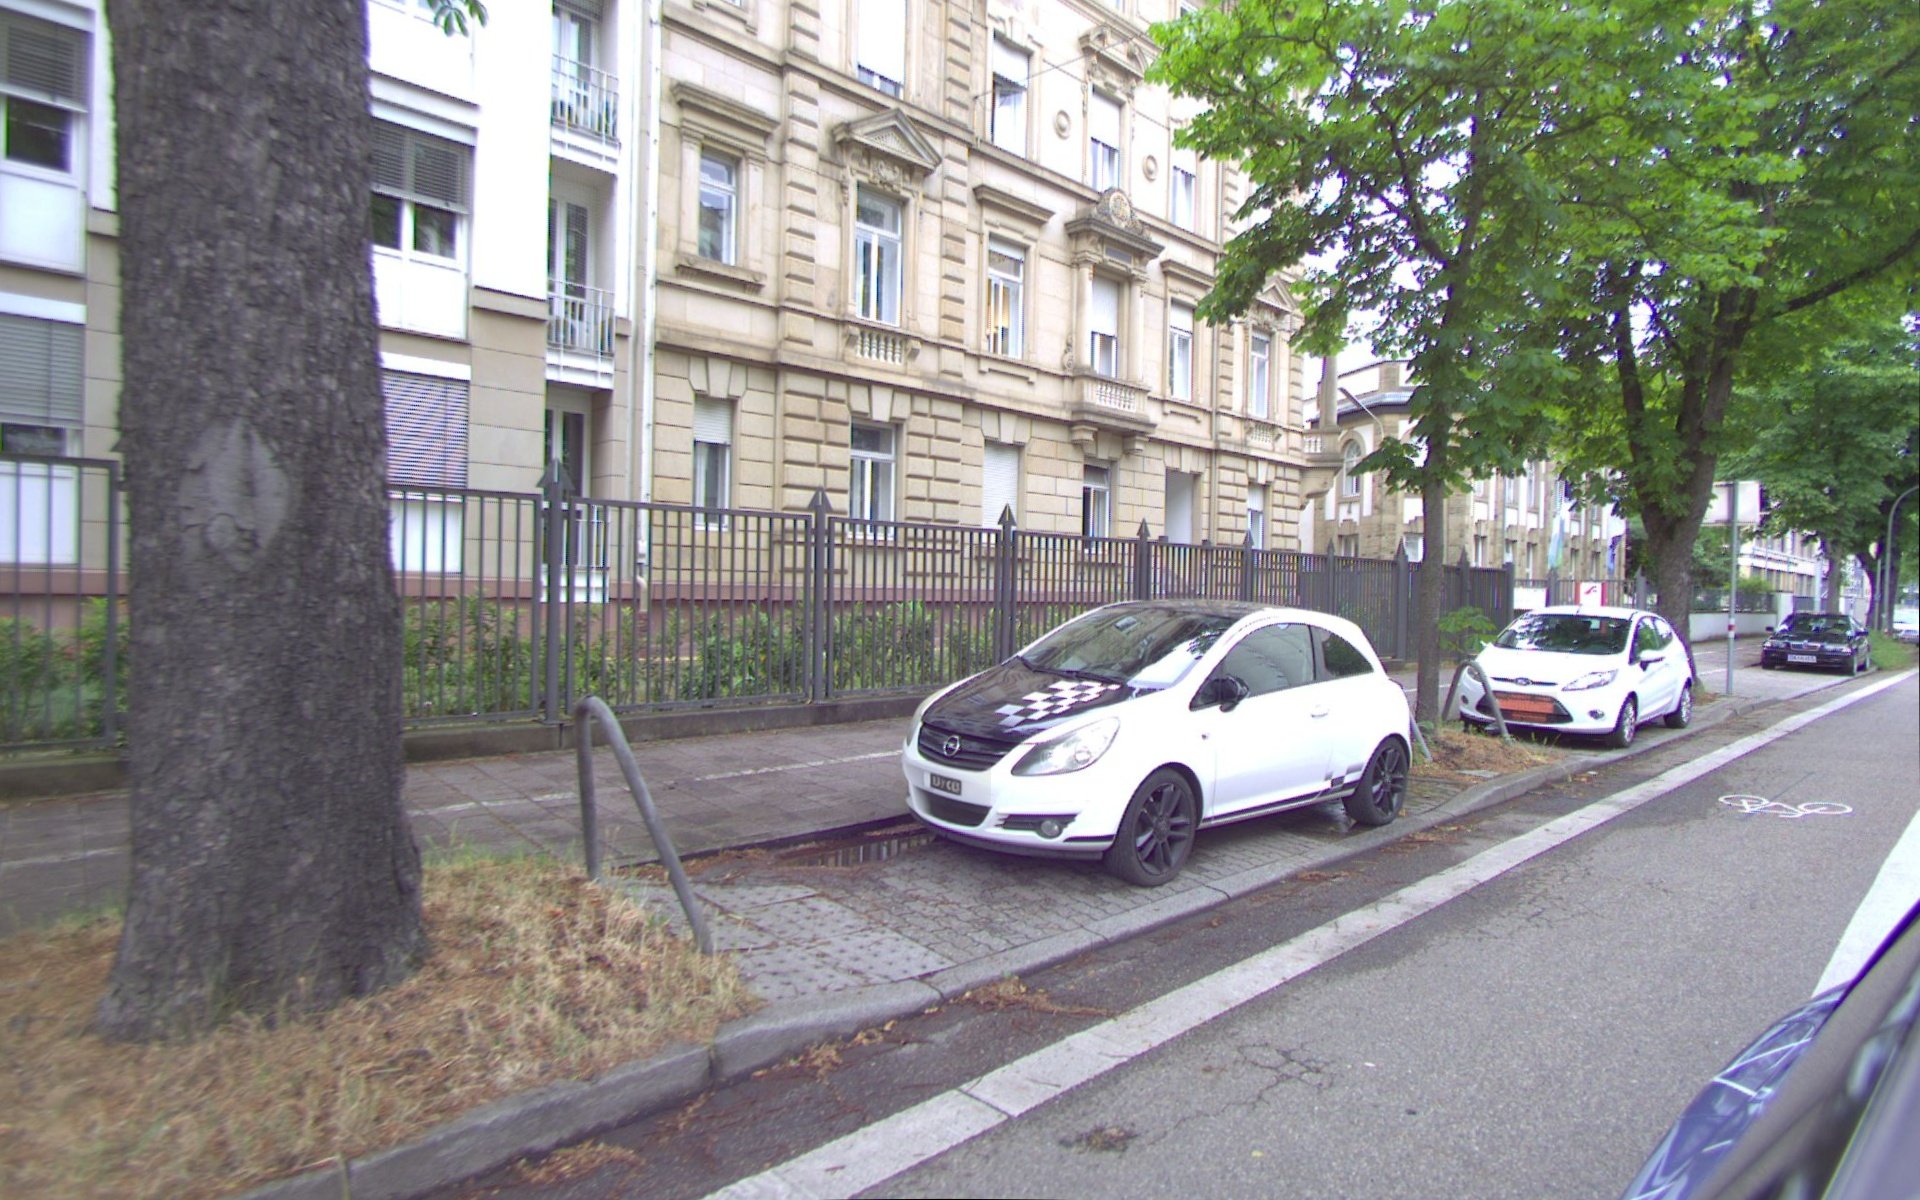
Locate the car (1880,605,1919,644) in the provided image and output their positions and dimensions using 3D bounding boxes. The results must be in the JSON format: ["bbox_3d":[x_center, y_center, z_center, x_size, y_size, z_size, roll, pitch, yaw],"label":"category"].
[{"bbox_3d":[37.068,0.939,39.294,3.771,1.387,1.605,0,3,-42],"label":"car"}]

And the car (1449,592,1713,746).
[{"bbox_3d":[7.425,0.691,11.965,3.700,1.453,1.630,0,3,-42],"label":"car"}]

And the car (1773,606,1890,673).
[{"bbox_3d":[20.917,0.887,24.245,3.771,1.387,1.605,0,3,-42],"label":"car"}]

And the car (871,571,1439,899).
[{"bbox_3d":[1.421,0.618,6.498,3.711,1.453,1.605,0,3,-41],"label":"car"}]

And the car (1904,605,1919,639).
[{"bbox_3d":[42.459,0.984,44.091,3.771,1.442,1.605,0,3,-42],"label":"car"}]
